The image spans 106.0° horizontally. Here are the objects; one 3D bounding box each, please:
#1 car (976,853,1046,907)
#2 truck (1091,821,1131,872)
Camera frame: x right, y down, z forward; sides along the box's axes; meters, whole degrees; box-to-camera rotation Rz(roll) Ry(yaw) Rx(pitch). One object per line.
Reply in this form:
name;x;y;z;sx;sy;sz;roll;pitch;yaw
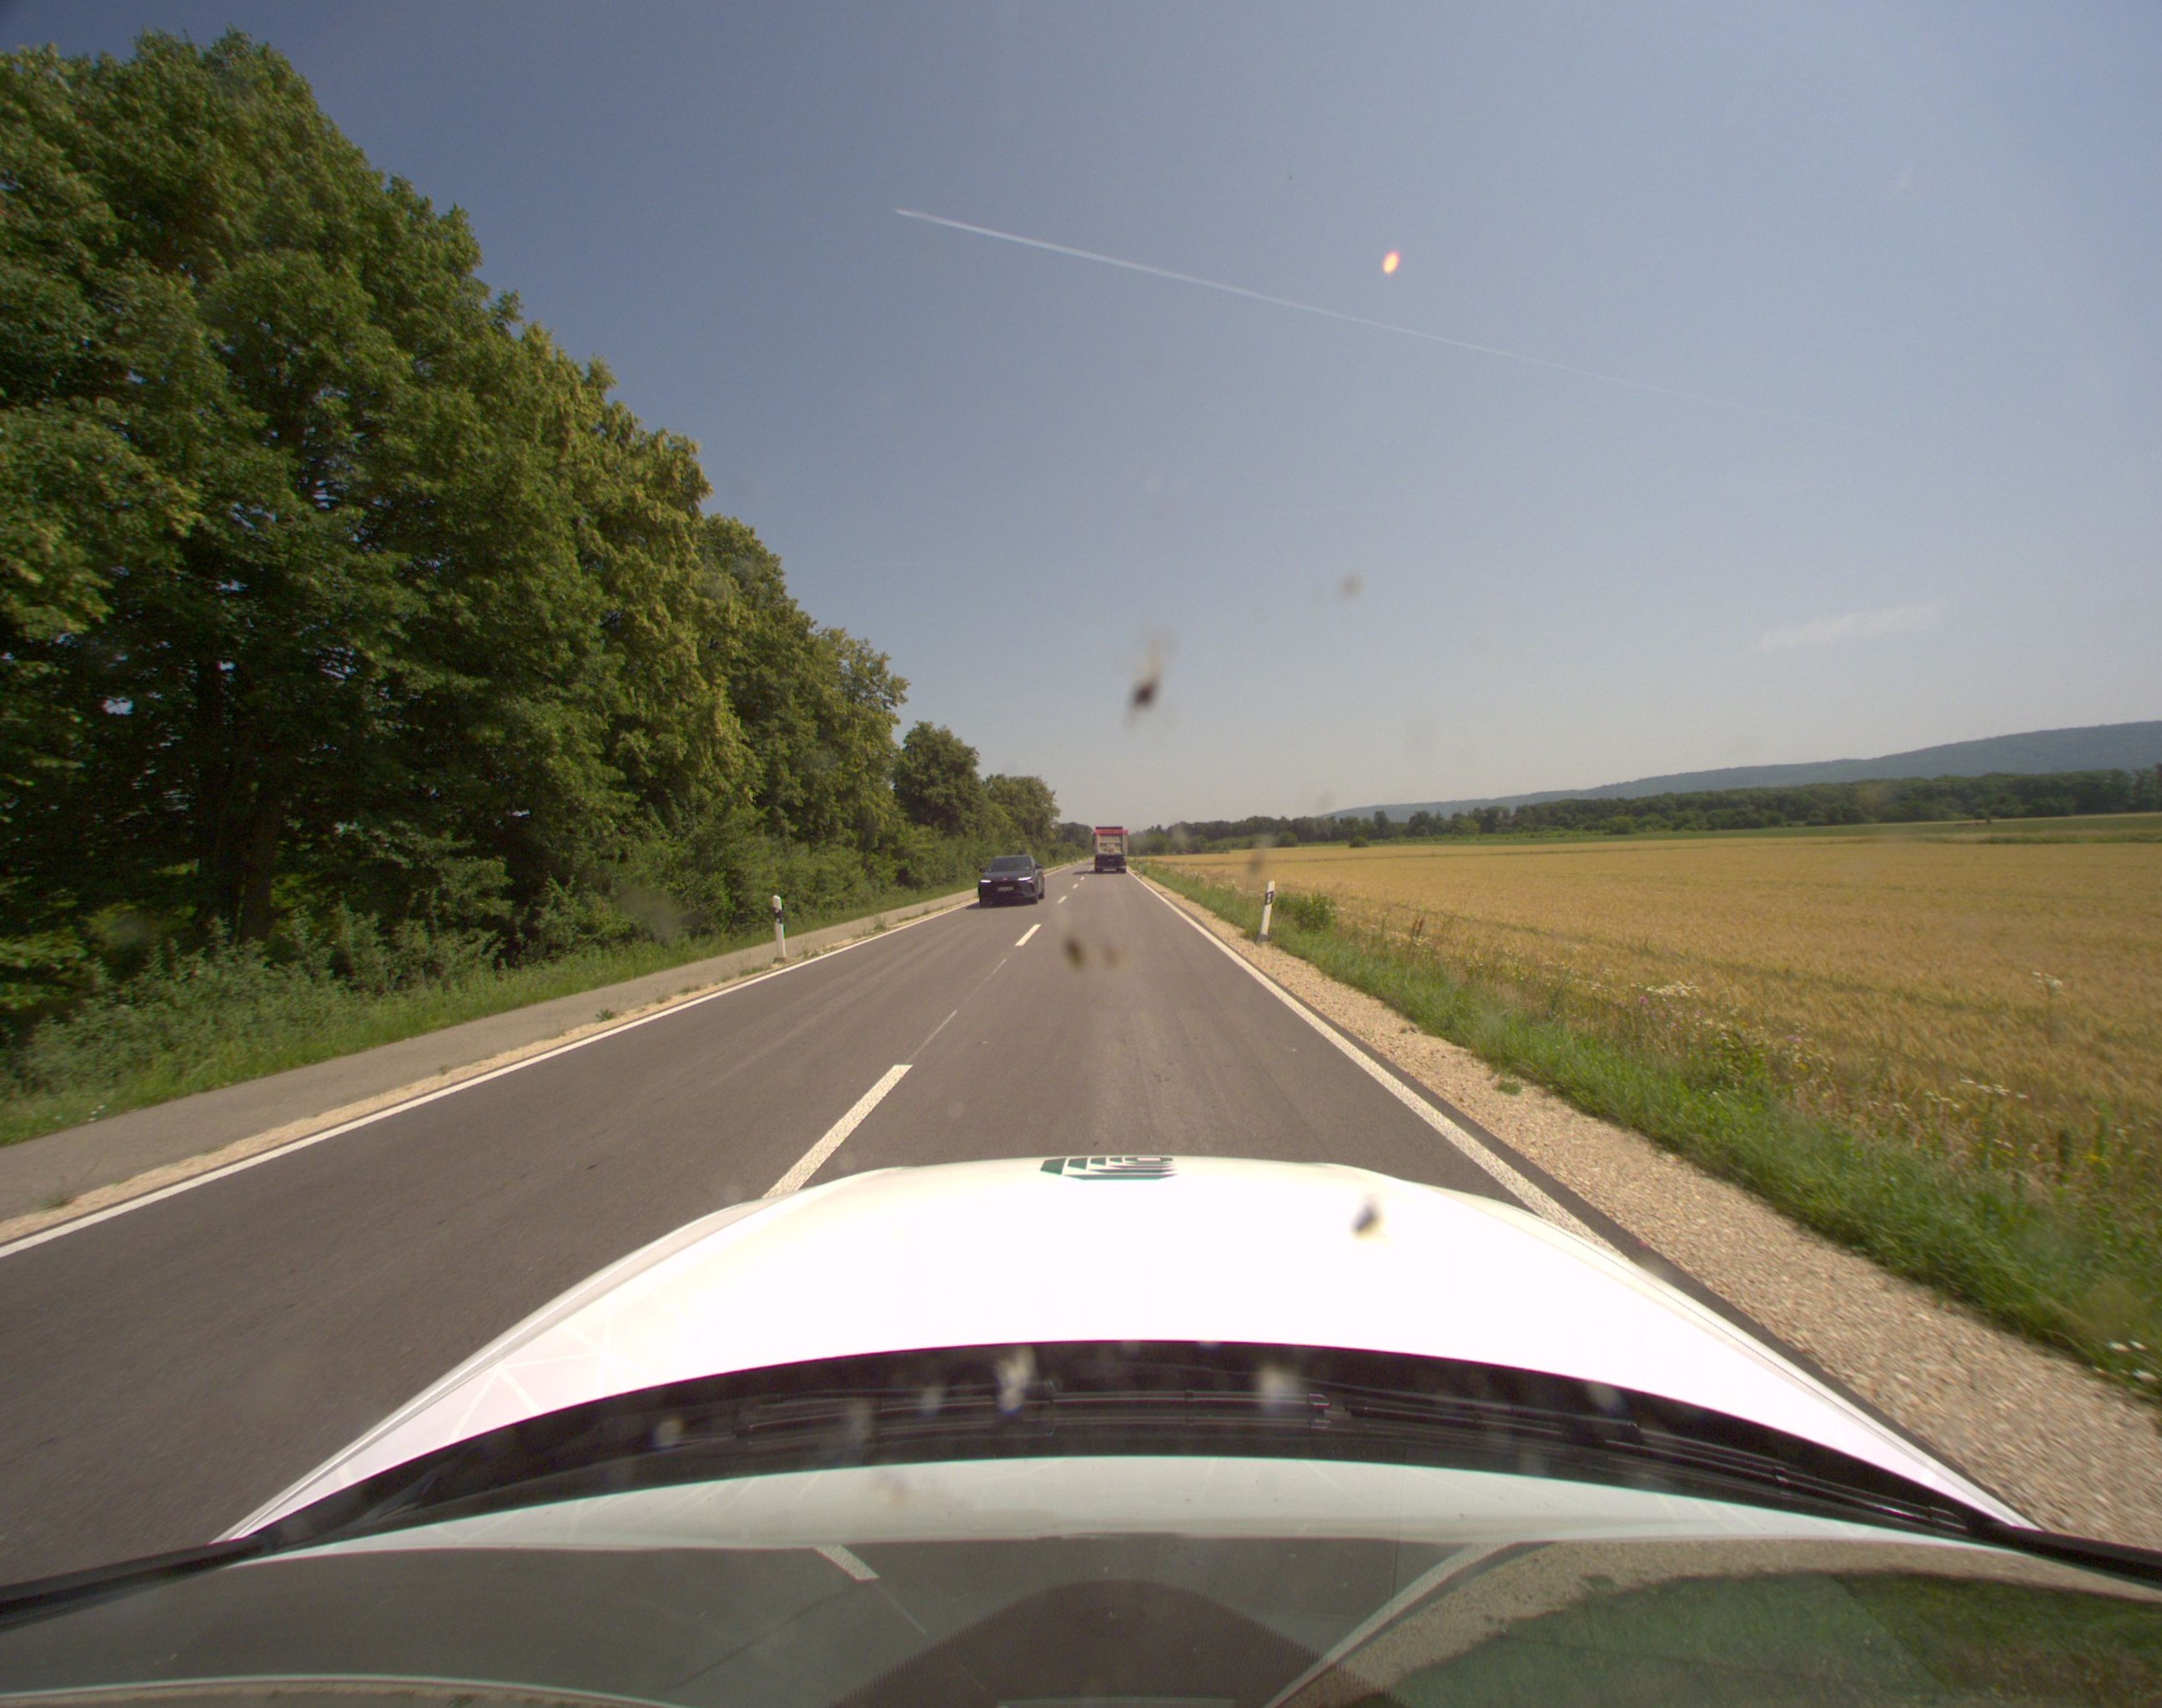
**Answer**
car;-2.257;0.811;27.520;1.785;1.574;4.480;-3;0;1
truck;2.485;-0.541;68.267;2.998;3.874;12.213;0;-1;2
